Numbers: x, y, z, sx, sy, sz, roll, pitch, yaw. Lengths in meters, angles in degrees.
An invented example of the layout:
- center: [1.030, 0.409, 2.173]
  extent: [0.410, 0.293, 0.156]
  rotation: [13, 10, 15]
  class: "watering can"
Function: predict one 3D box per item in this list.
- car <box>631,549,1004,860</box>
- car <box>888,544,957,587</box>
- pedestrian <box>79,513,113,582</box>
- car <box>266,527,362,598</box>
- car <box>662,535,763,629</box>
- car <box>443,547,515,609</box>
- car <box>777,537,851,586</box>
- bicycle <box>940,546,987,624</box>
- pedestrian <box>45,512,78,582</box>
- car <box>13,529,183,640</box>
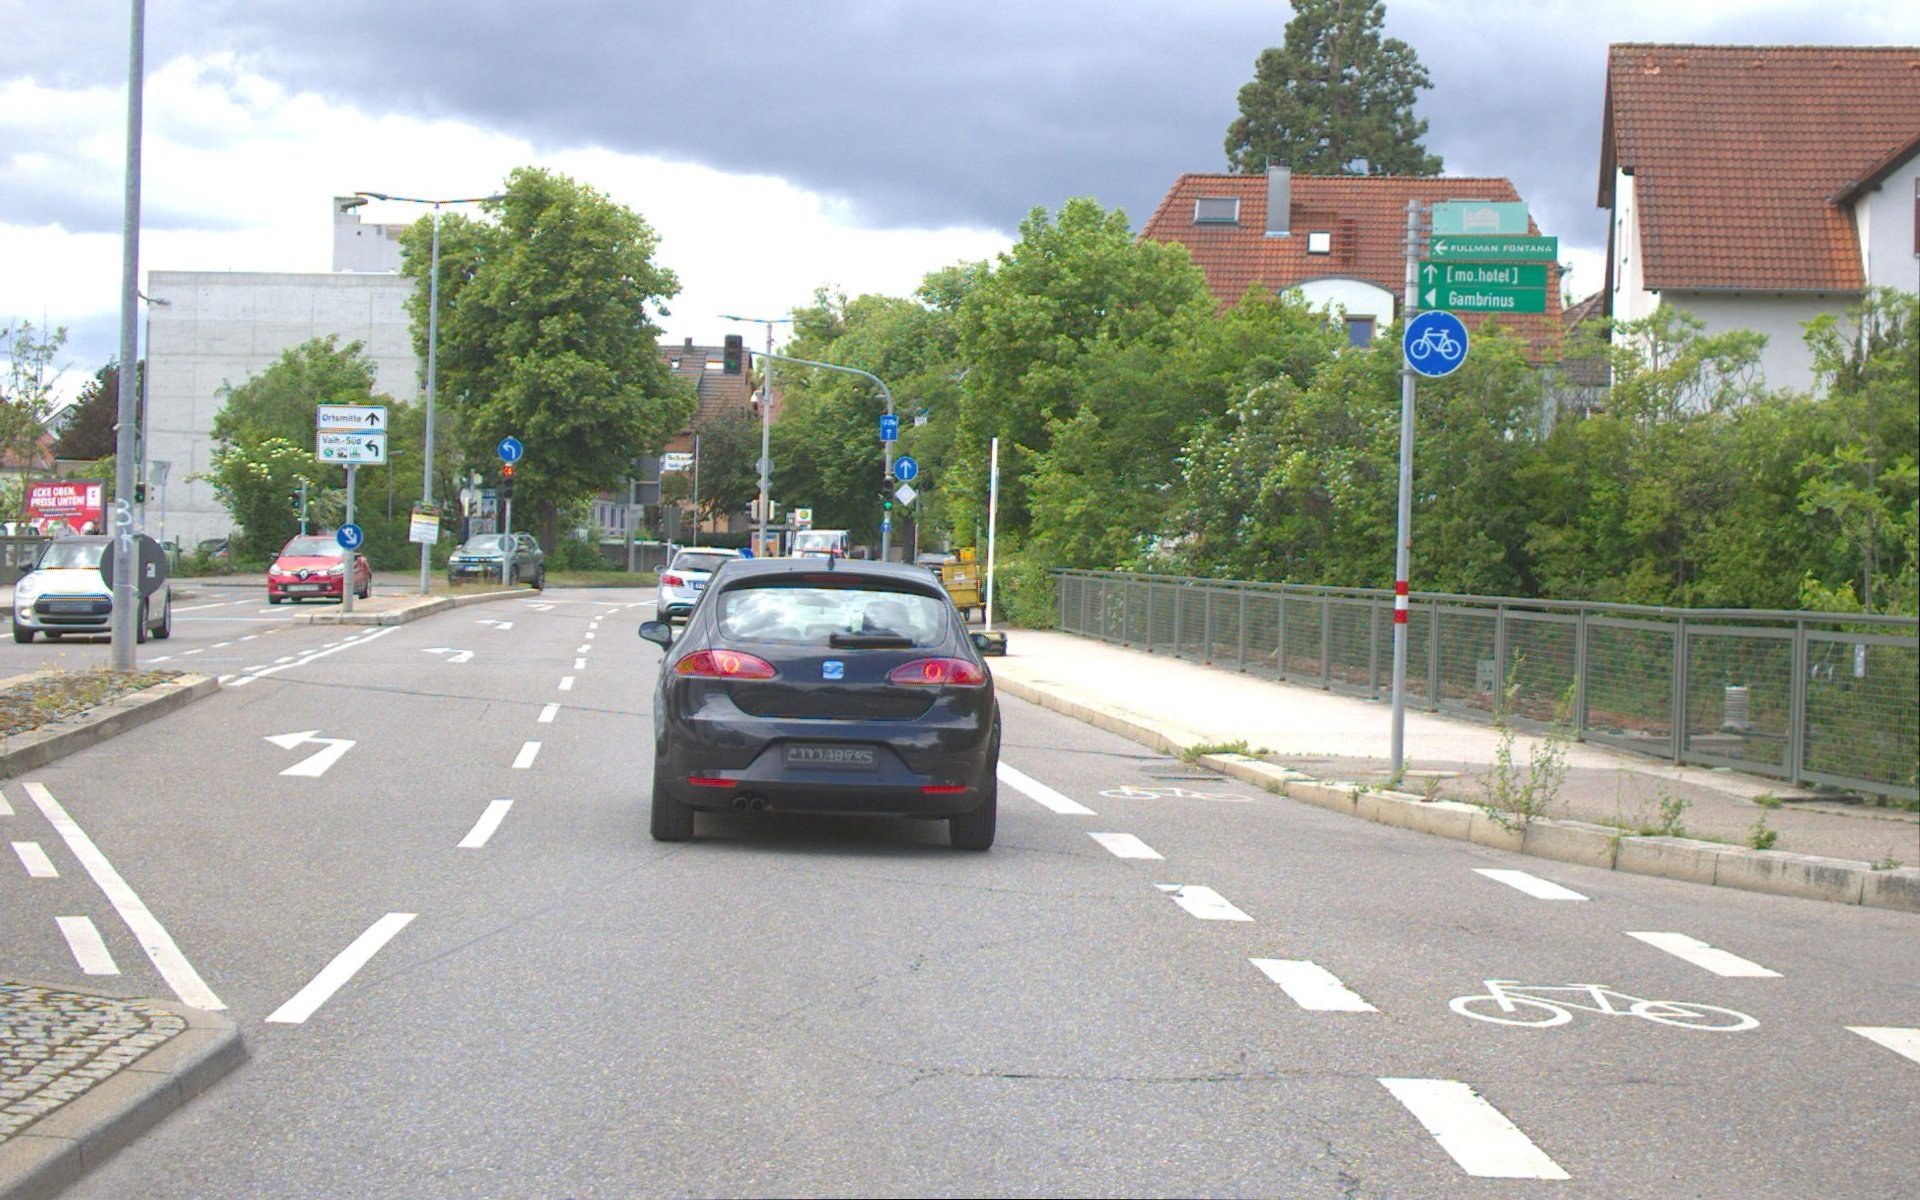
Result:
- center: [-0.728, 0.475, 18.293]
  extent: [1.759, 1.444, 3.715]
  rotation: [1, 1, -1]
  class: "car"
- center: [-1.512, -1.408, 140.121]
  extent: [1.994, 1.678, 3.998]
  rotation: [2, 1, 11]
  class: "car"
- center: [-20.715, -1.257, 82.415]
  extent: [0.656, 1.628, 1.071]
  rotation: [3, 0, -11]
  class: "pedestrian"
- center: [-13.921, -0.812, 74.224]
  extent: [1.720, 1.443, 4.068]
  rotation: [2, 1, -7]
  class: "car"
- center: [-4.674, -0.367, 65.110]
  extent: [1.818, 1.693, 4.254]
  rotation: [1, 1, -4]
  class: "car"
- center: [-13.232, -0.631, 94.767]
  extent: [1.822, 1.621, 4.280]
  rotation: [2, 1, -7]
  class: "car"
- center: [-4.570, -1.213, 107.125]
  extent: [1.941, 1.476, 4.254]
  rotation: [1, 1, -7]
  class: "car"
- center: [0.073, -0.314, 68.185]
  extent: [0.891, 1.505, 2.783]
  rotation: [1, 1, 0]
  class: "bicycle"
- center: [-21.507, -1.272, 82.296]
  extent: [0.656, 1.628, 0.833]
  rotation: [3, 0, -11]
  class: "pedestrian"
- center: [-11.696, -0.227, 46.850]
  extent: [1.642, 1.404, 3.820]
  rotation: [2, 1, -5]
  class: "car"
